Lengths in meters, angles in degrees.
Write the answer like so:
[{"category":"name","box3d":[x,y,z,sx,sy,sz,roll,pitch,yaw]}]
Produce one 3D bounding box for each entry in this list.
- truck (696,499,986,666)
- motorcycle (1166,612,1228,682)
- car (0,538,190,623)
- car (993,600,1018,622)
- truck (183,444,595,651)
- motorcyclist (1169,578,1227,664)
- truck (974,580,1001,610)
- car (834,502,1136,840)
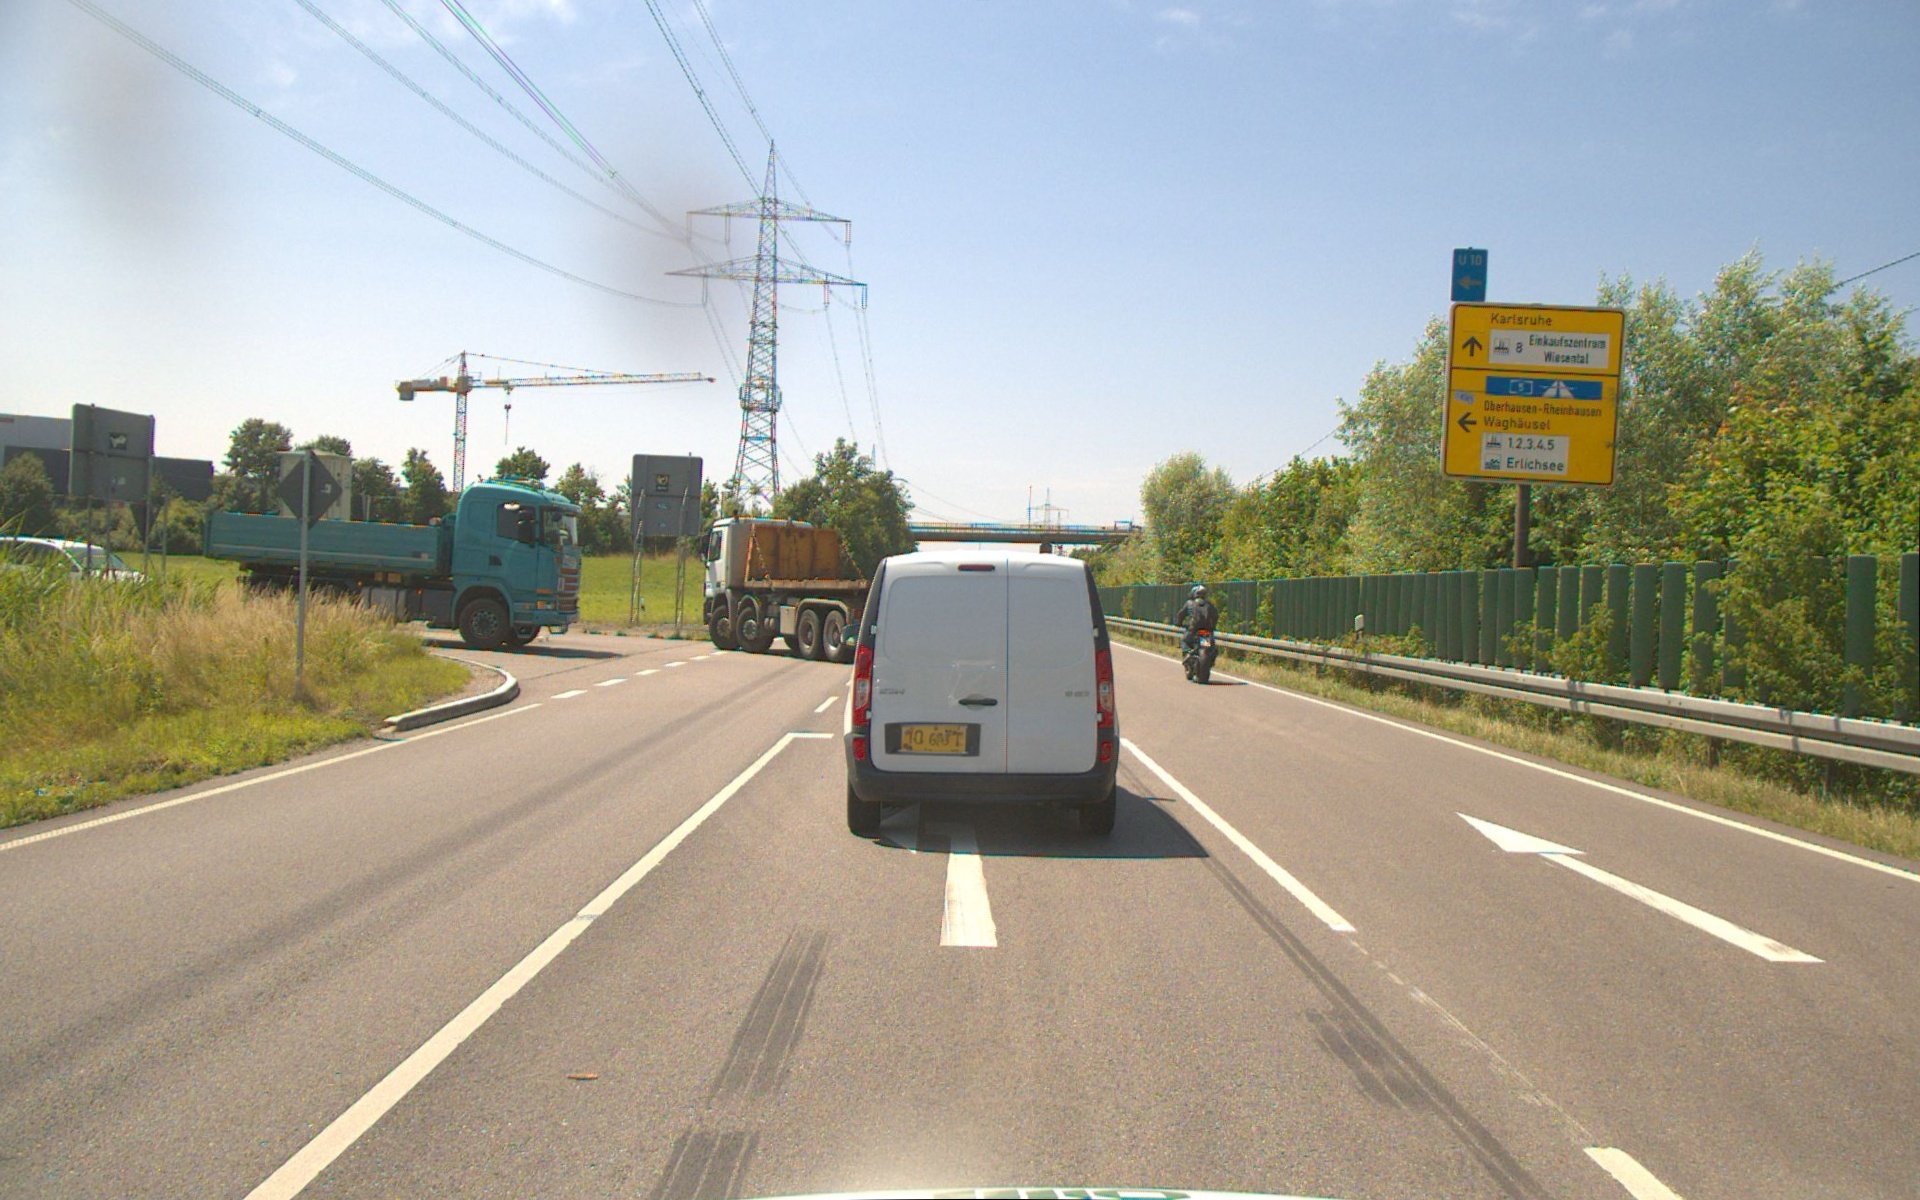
[{"category":"truck","box3d":[-3.051,-0.459,38.043,2.790,3.345,9.606,1,1,-29]},{"category":"motorcycle","box3d":[4.269,0.827,29.872,0.774,1.178,1.901,2,0,-1]},{"category":"car","box3d":[-19.252,-0.447,35.728,4.445,1.640,1.969,3,0,14]},{"category":"car","box3d":[3.542,0.845,129.098,1.810,1.601,4.000,1,0,0]},{"category":"truck","box3d":[-12.074,-1.089,35.387,7.741,3.799,2.499,4,0,2]},{"category":"motorcyclist","box3d":[4.262,0.368,29.668,0.871,1.502,1.002,1,0,-1]},{"category":"truck","box3d":[2.677,-0.499,162.763,2.326,2.736,8.009,2,0,0]},{"category":"car","box3d":[0.139,0.420,11.927,1.789,2.005,4.000,1,0,0]}]
